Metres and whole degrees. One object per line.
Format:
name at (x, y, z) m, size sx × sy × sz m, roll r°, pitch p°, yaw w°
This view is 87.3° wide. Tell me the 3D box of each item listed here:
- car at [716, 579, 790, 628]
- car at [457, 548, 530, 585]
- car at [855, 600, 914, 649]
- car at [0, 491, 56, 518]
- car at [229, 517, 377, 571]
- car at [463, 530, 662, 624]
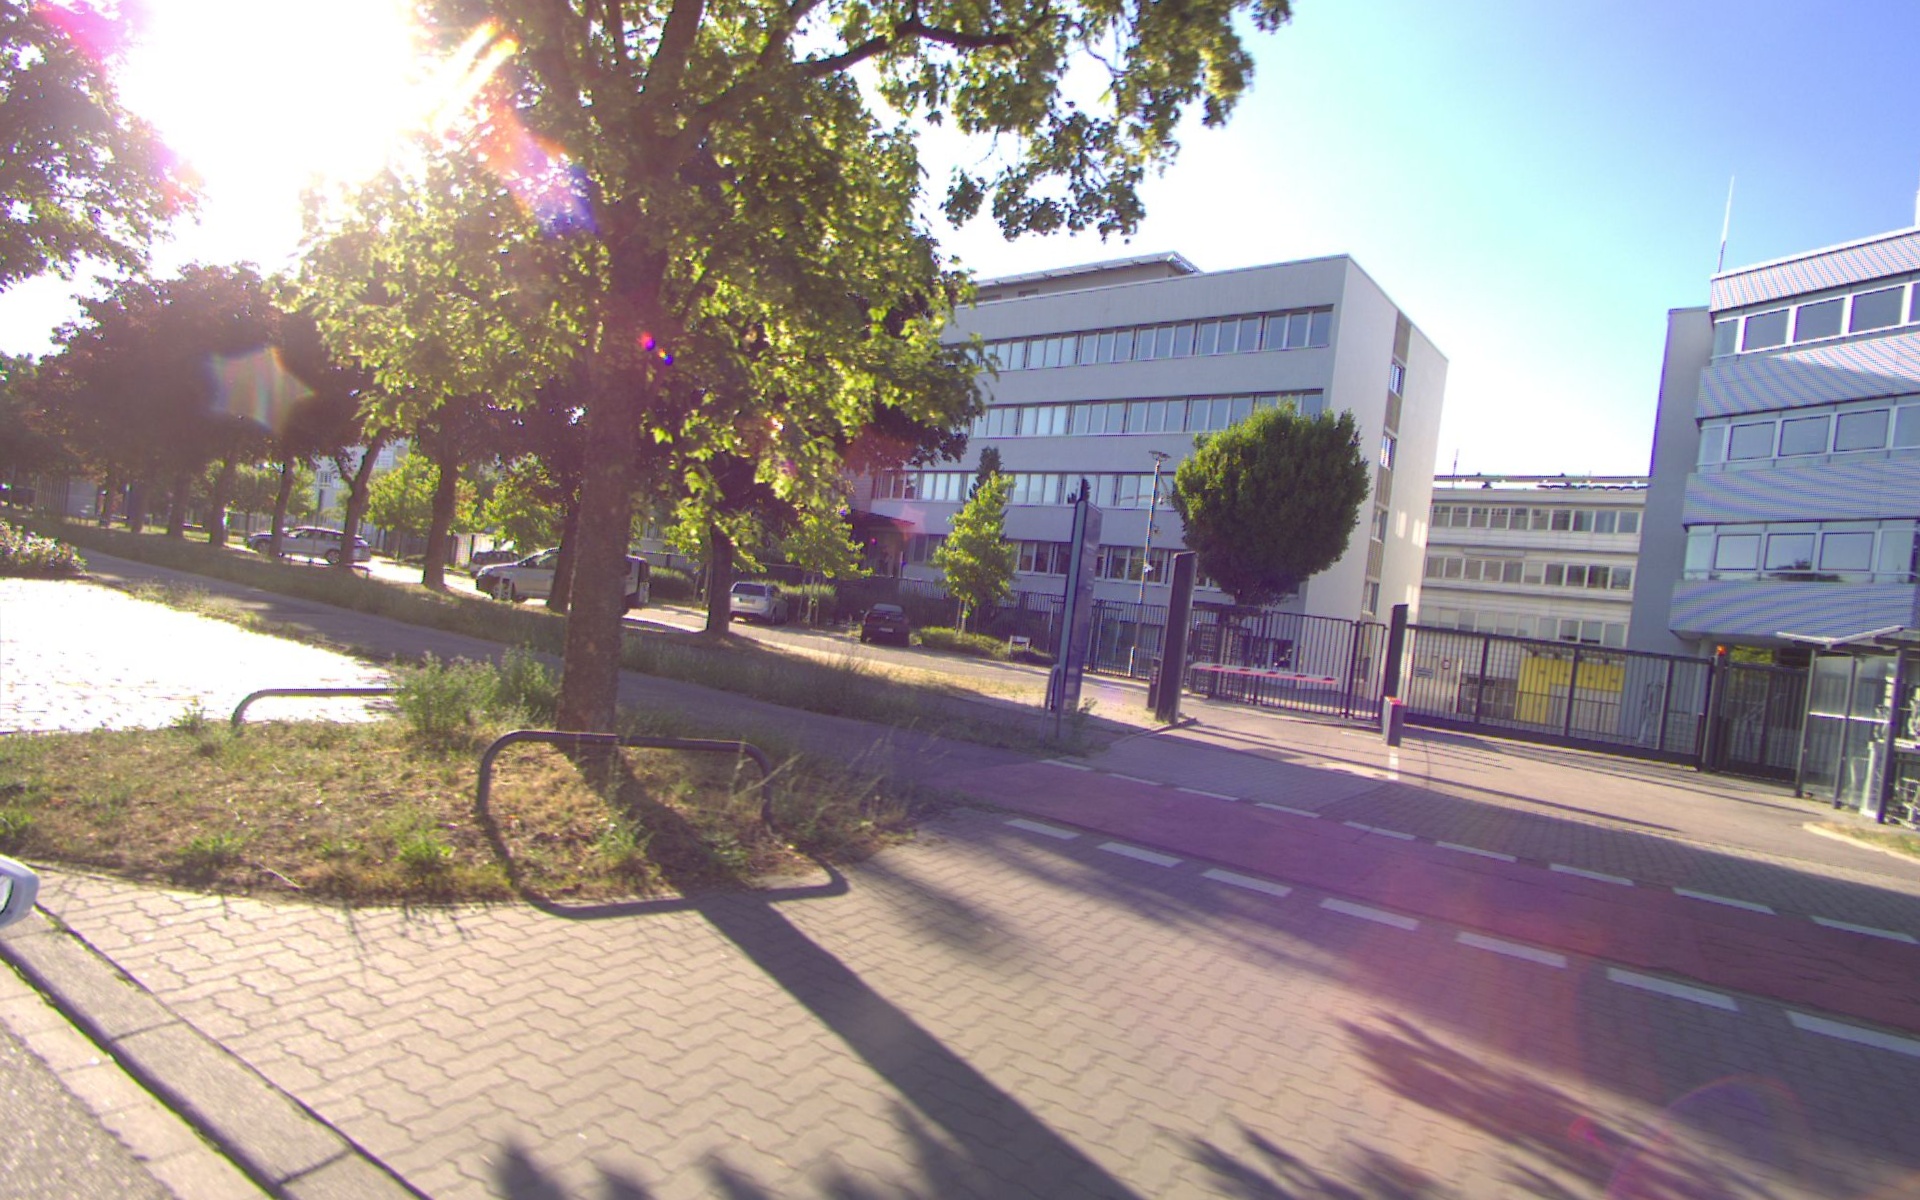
car at (-7.790, 0.170, 38.235) m, size 1.773 × 1.547 × 4.313 m, roll 7°, pitch -1°, yaw 0°
car at (-23.867, -1.689, 51.641) m, size 1.735 × 1.546 × 4.302 m, roll 7°, pitch 0°, yaw -2°
car at (-2.545, 0.791, 34.332) m, size 1.774 × 1.370 × 3.998 m, roll 7°, pitch -1°, yaw -4°
car at (-77.644, -7.935, 82.785) m, size 2.029 × 1.726 × 4.427 m, roll 7°, pitch -1°, yaw 39°
car at (-28.431, -2.391, 43.724) m, size 4.875 × 1.593 × 1.995 m, roll 7°, pitch 0°, yaw -14°
car at (-11.512, -0.633, 29.449) m, size 4.869 × 1.957 × 1.998 m, roll 8°, pitch 0°, yaw -6°
